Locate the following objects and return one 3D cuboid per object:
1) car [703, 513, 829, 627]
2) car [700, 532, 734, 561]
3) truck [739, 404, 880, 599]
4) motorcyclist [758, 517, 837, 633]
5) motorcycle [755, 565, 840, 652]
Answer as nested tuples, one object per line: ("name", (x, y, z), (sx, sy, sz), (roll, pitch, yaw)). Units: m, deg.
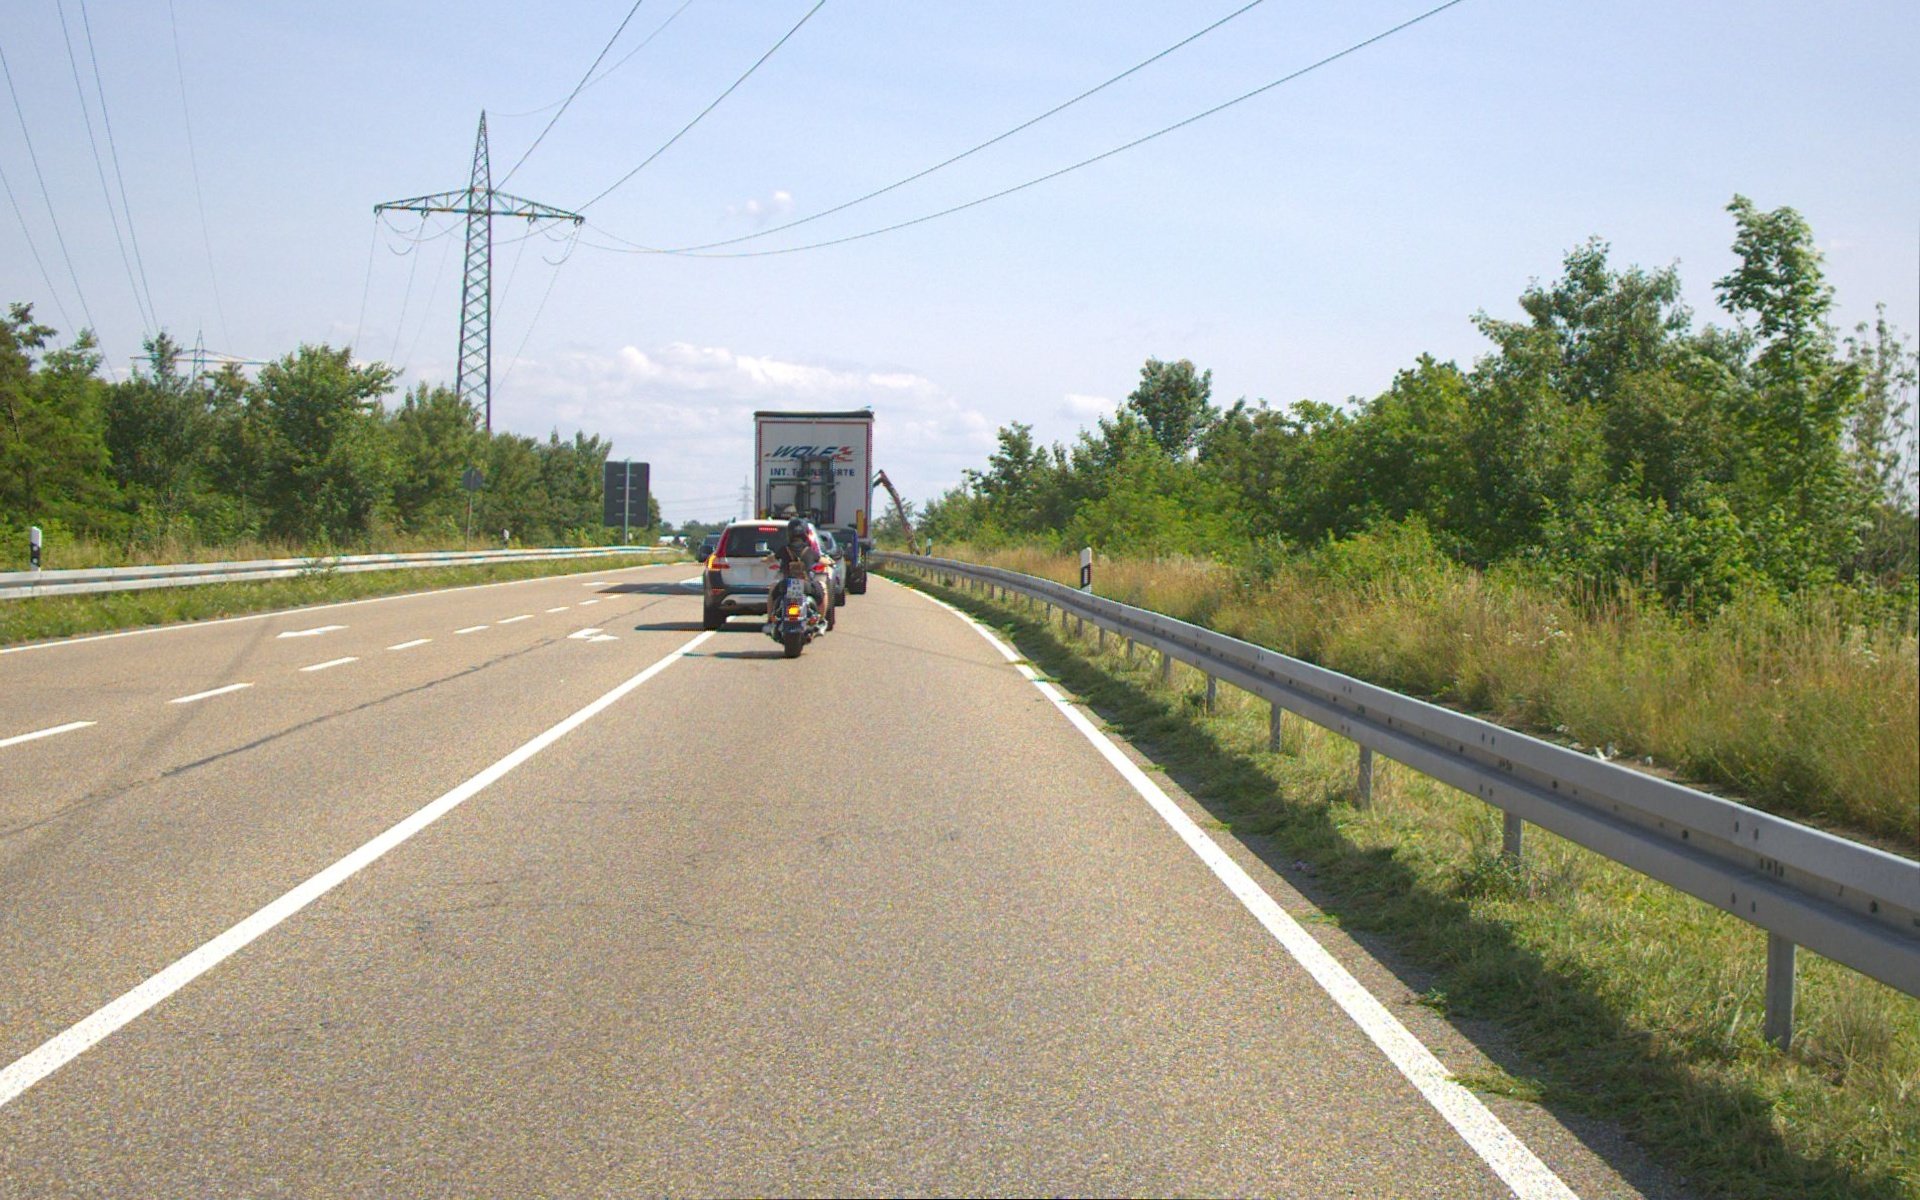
("car", (-2.742, -0.448, 48.992), (1.701, 1.531, 3.499), (1, 1, -2))
("car", (-13.064, -2.864, 184.888), (1.727, 1.486, 4.423), (1, 1, -3))
("truck", (-3.467, -2.303, 82.150), (2.967, 4.172, 14.823), (1, 1, -2))
("motorcyclist", (-1.838, -0.290, 38.768), (0.837, 1.276, 0.919), (1, 1, -5))
("motorcycle", (-1.846, 0.081, 38.718), (0.858, 0.912, 2.228), (1, 1, -5))
